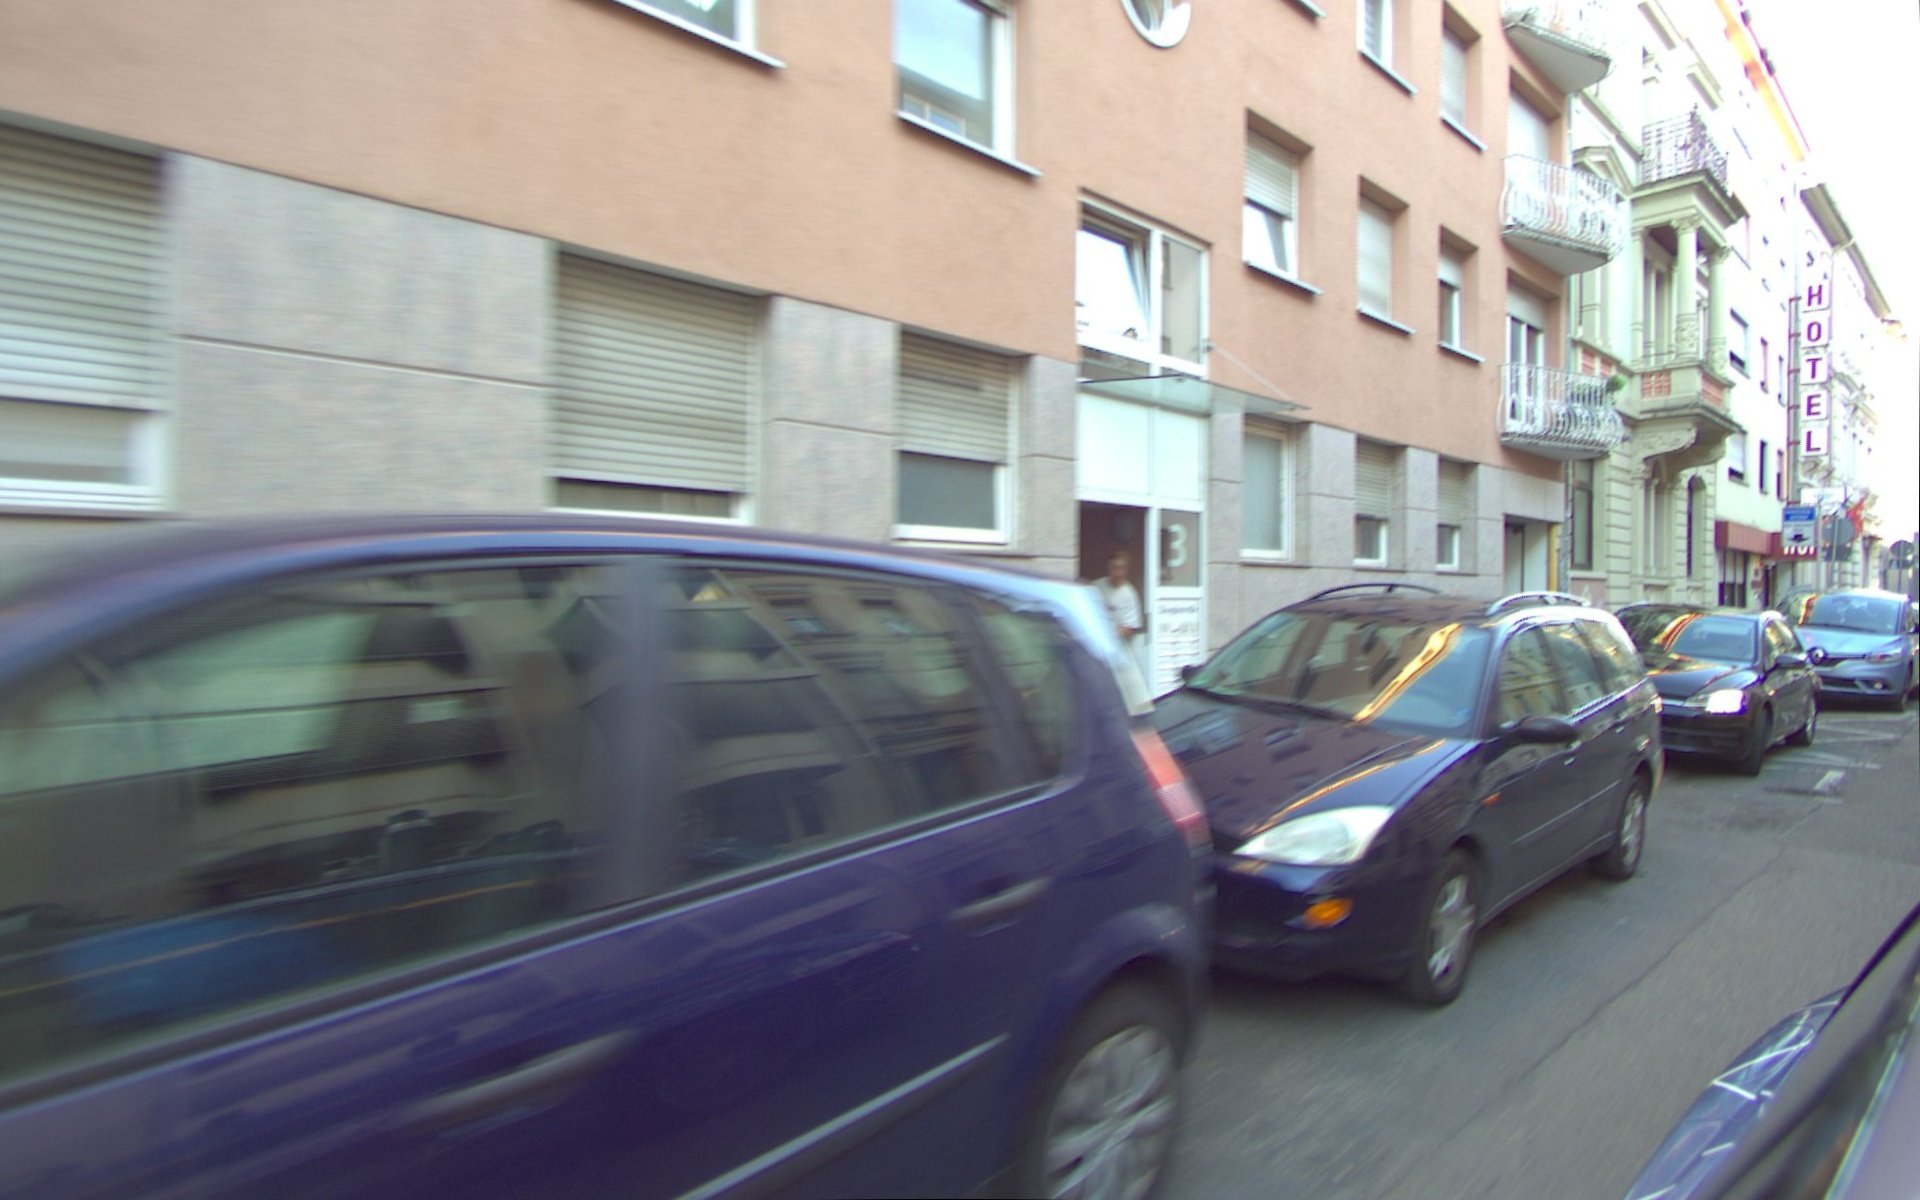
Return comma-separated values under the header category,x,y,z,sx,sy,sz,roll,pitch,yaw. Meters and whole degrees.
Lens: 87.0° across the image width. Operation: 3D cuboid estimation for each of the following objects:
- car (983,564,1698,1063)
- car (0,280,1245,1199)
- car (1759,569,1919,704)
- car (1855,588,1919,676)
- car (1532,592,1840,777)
category,x,y,z,sx,sy,sz,roll,pitch,yaw
car,2.217,0.662,5.165,4.209,1.533,1.692,0,0,-42
car,-1.279,0.521,1.767,3.988,1.646,1.690,0,0,-45
car,13.532,0.488,15.249,4.038,1.763,1.692,0,0,-42
car,18.630,0.587,19.590,3.528,1.599,1.572,0,0,-42
car,7.366,0.684,10.114,4.061,1.476,1.692,0,0,-42
